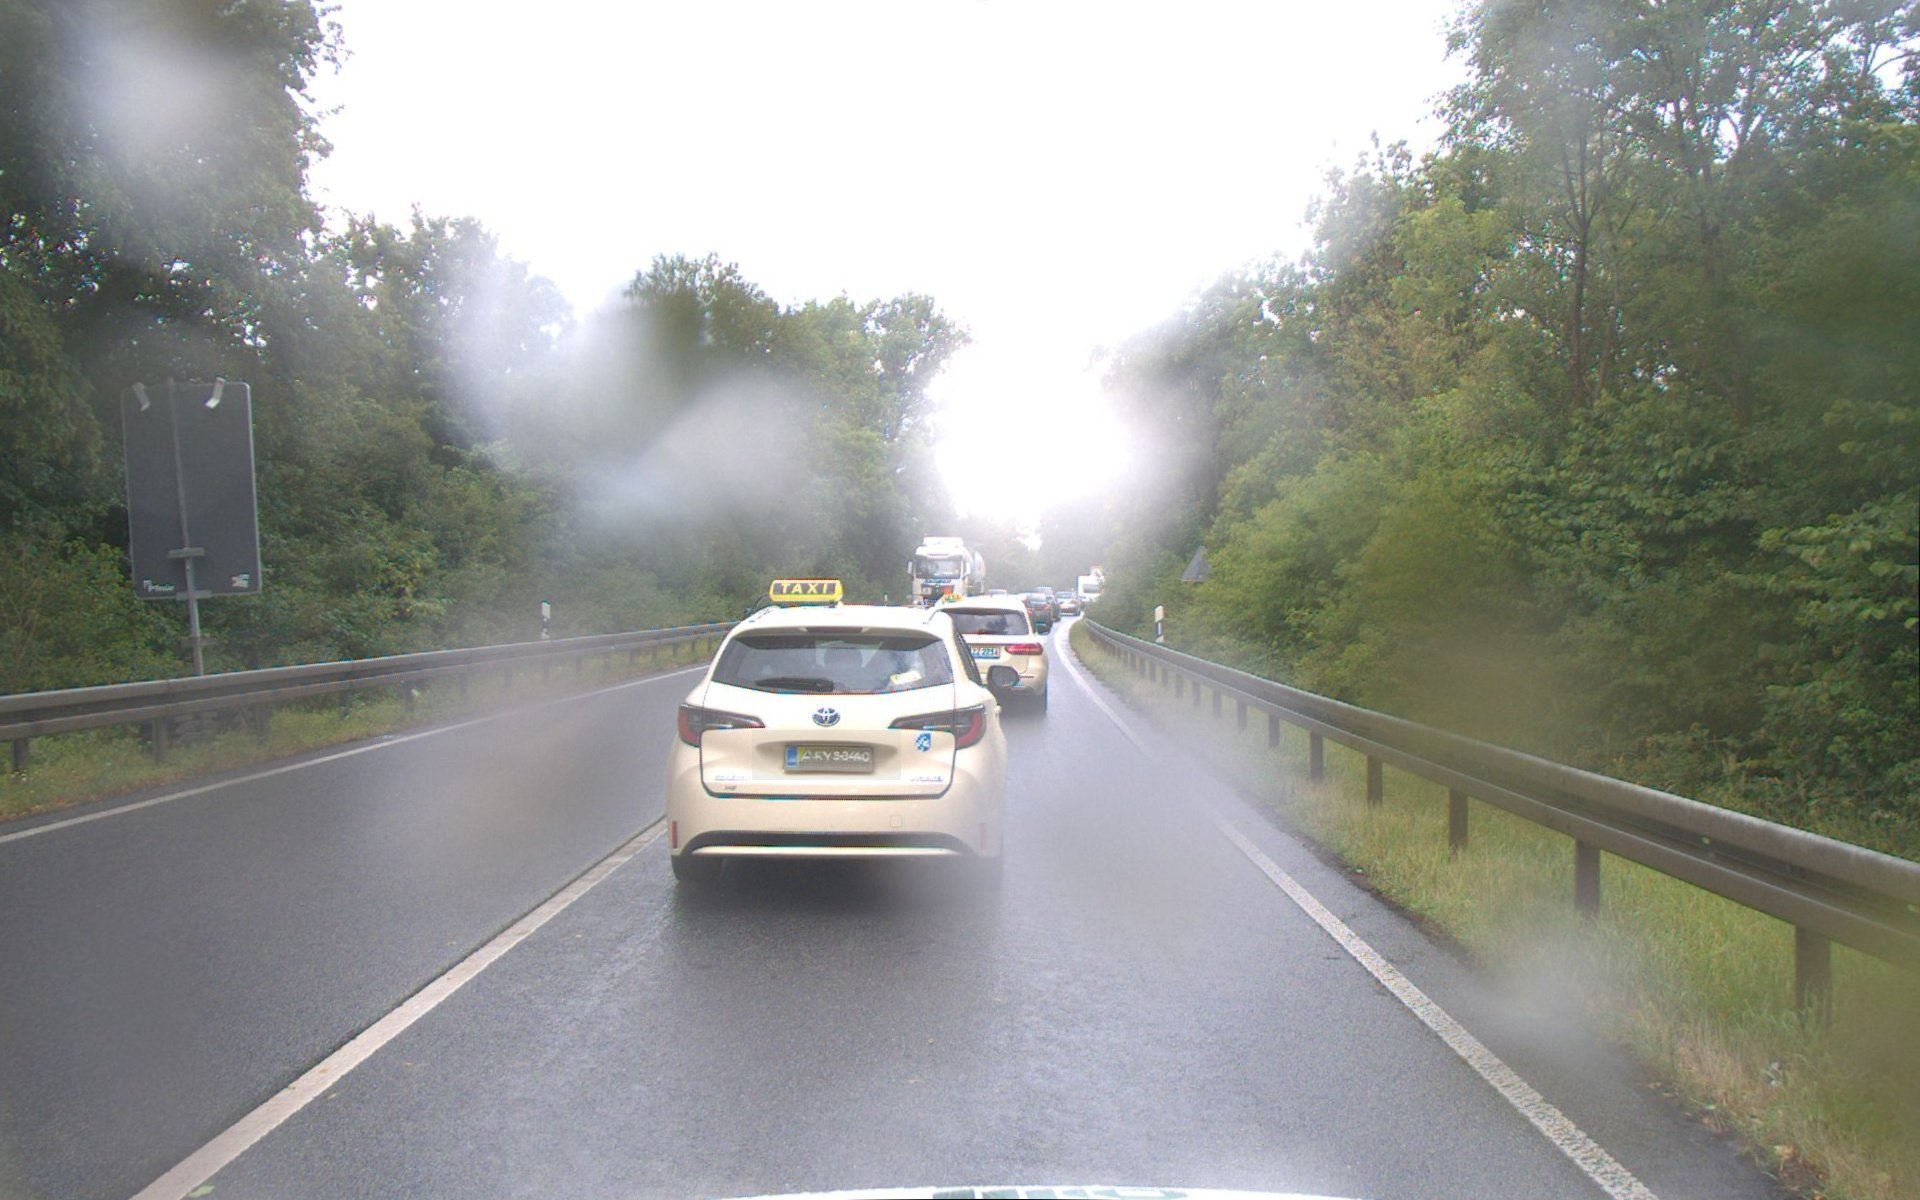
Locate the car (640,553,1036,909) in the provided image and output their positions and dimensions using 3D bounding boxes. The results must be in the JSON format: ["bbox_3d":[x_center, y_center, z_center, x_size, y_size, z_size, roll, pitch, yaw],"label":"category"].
[{"bbox_3d":[-0.573,0.619,9.700,1.796,1.608,4.156,1,0,0],"label":"car"}]

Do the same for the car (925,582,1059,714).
[{"bbox_3d":[0.453,0.607,22.452,1.633,1.608,3.893,1,0,2],"label":"car"}]

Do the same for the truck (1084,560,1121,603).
[{"bbox_3d":[12.998,-1.645,150.360,3.041,3.745,7.005,1,0,7],"label":"truck"}]

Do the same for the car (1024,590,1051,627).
[{"bbox_3d":[3.394,0.386,72.909,1.143,1.574,2.605,1,0,2],"label":"car"}]

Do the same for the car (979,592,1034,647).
[{"bbox_3d":[1.384,0.562,49.683,1.578,1.574,3.814,0,0,1],"label":"car"}]

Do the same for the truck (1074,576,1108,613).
[{"bbox_3d":[10.339,-0.394,130.984,2.496,2.760,7.538,1,0,3],"label":"truck"}]

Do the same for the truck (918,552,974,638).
[{"bbox_3d":[-0.652,-0.217,78.270,2.484,3.892,5.244,1,0,0],"label":"truck"}]

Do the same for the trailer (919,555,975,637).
[{"bbox_3d":[-0.578,-0.182,83.657,2.483,3.892,7.793,1,0,2],"label":"trailer"}]

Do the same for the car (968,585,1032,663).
[{"bbox_3d":[0.861,0.498,35.221,1.273,1.574,3.260,1,0,2],"label":"car"}]

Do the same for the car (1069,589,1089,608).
[{"bbox_3d":[12.804,-0.164,178.000,1.550,2.049,3.764,1,0,13],"label":"car"}]

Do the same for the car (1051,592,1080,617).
[{"bbox_3d":[6.897,0.321,108.164,1.732,1.574,3.816,1,0,6],"label":"car"}]
